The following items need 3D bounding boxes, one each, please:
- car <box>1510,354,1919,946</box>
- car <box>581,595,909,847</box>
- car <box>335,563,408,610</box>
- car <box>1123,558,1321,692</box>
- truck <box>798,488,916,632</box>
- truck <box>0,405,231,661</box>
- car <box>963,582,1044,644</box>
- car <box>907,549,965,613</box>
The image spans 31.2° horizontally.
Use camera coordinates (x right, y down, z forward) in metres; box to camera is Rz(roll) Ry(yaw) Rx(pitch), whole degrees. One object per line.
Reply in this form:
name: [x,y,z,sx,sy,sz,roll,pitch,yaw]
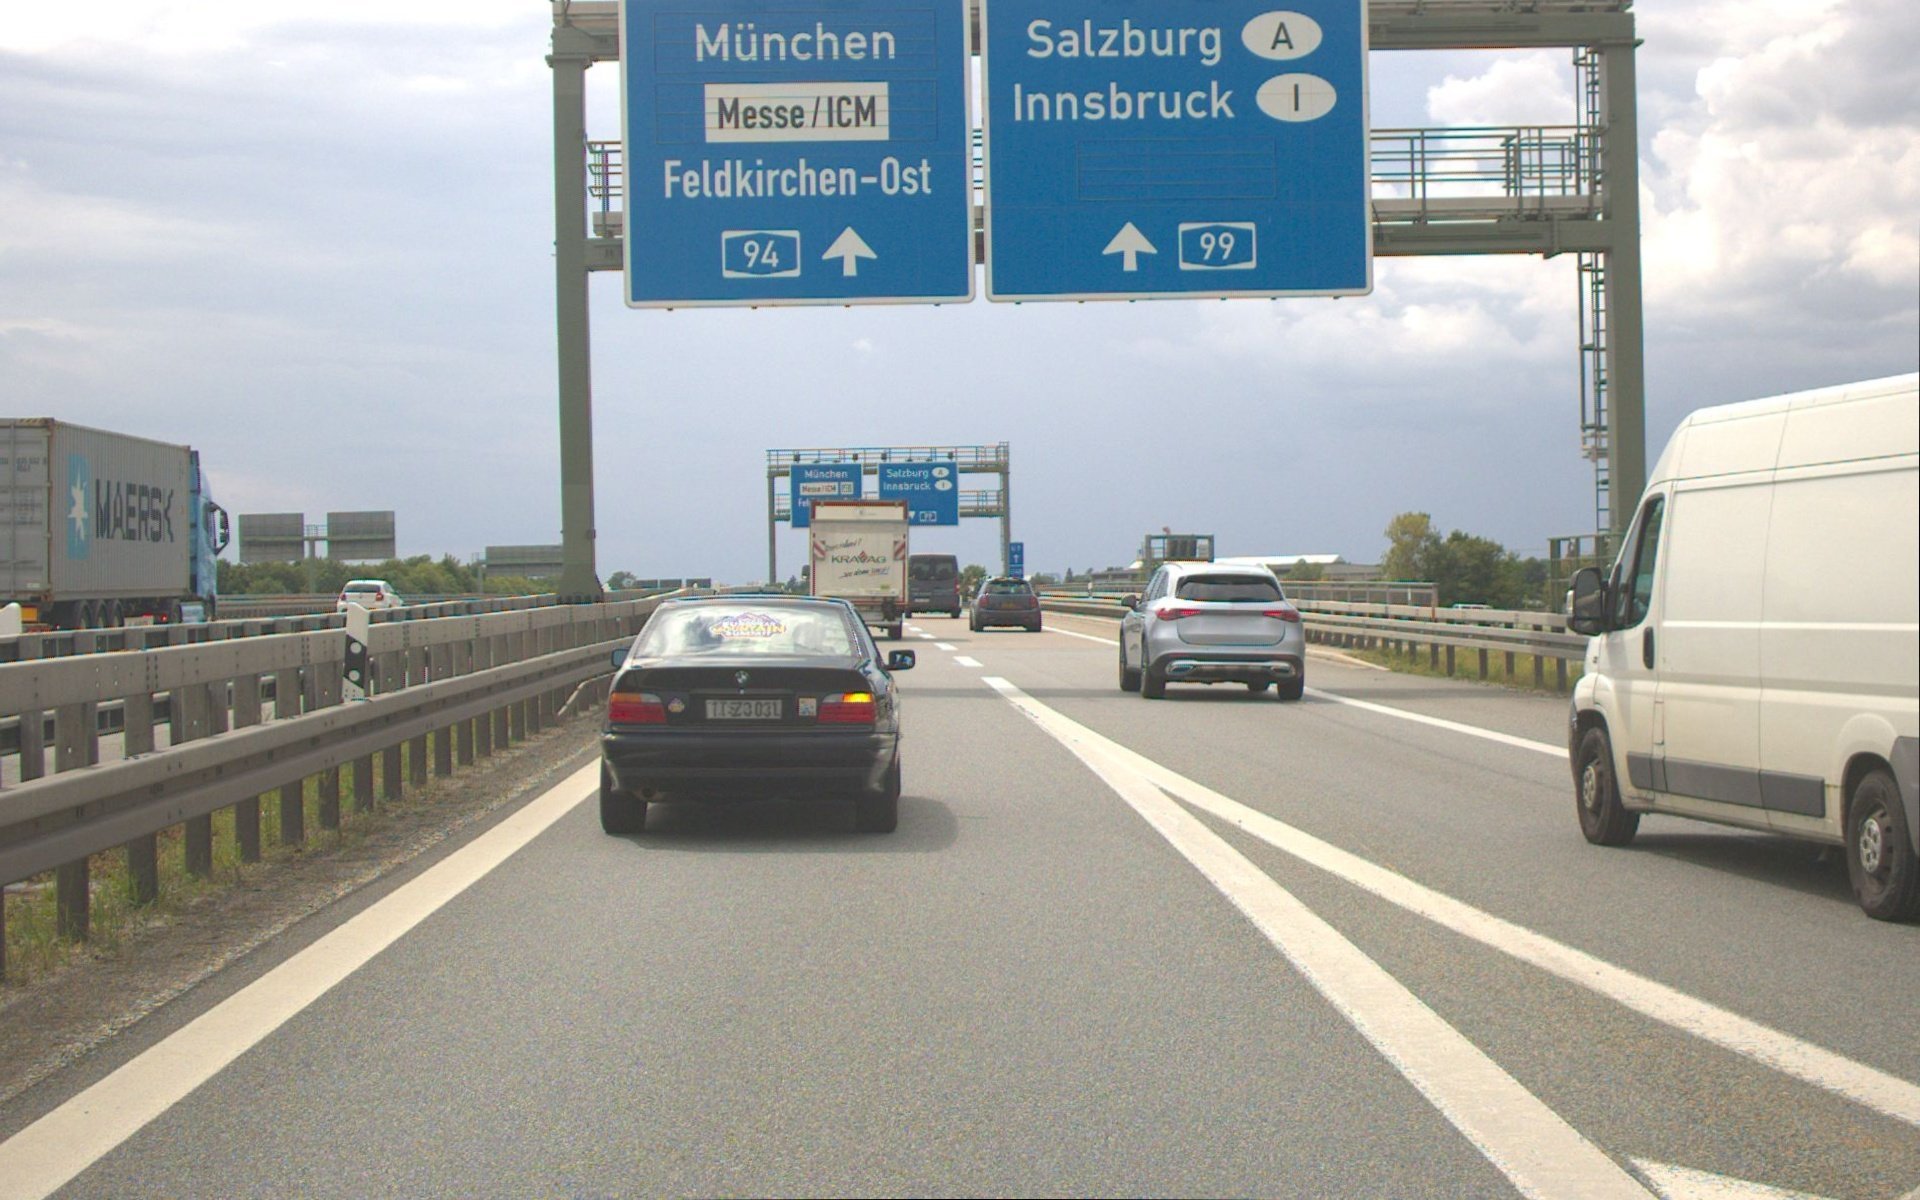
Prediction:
car: [4.665,0.184,17.097,2.113,2.445,6.153,1,1,-7]
car: [-1.173,0.636,20.386,1.704,1.277,4.366,1,1,-1]
car: [-19.633,-0.467,114.778,1.828,1.557,4.000,0,1,-1]
car: [3.104,0.268,41.474,1.819,1.509,4.001,1,1,-4]
truck: [-2.440,-0.845,80.225,2.568,3.115,8.634,1,-1,-2]
truck: [-15.990,-1.152,61.854,3.183,4.005,16.077,1,1,-3]
car: [1.124,0.324,90.034,1.884,1.547,4.000,1,1,-2]
car: [-0.885,-0.706,125.010,1.906,2.254,4.649,1,1,-3]
